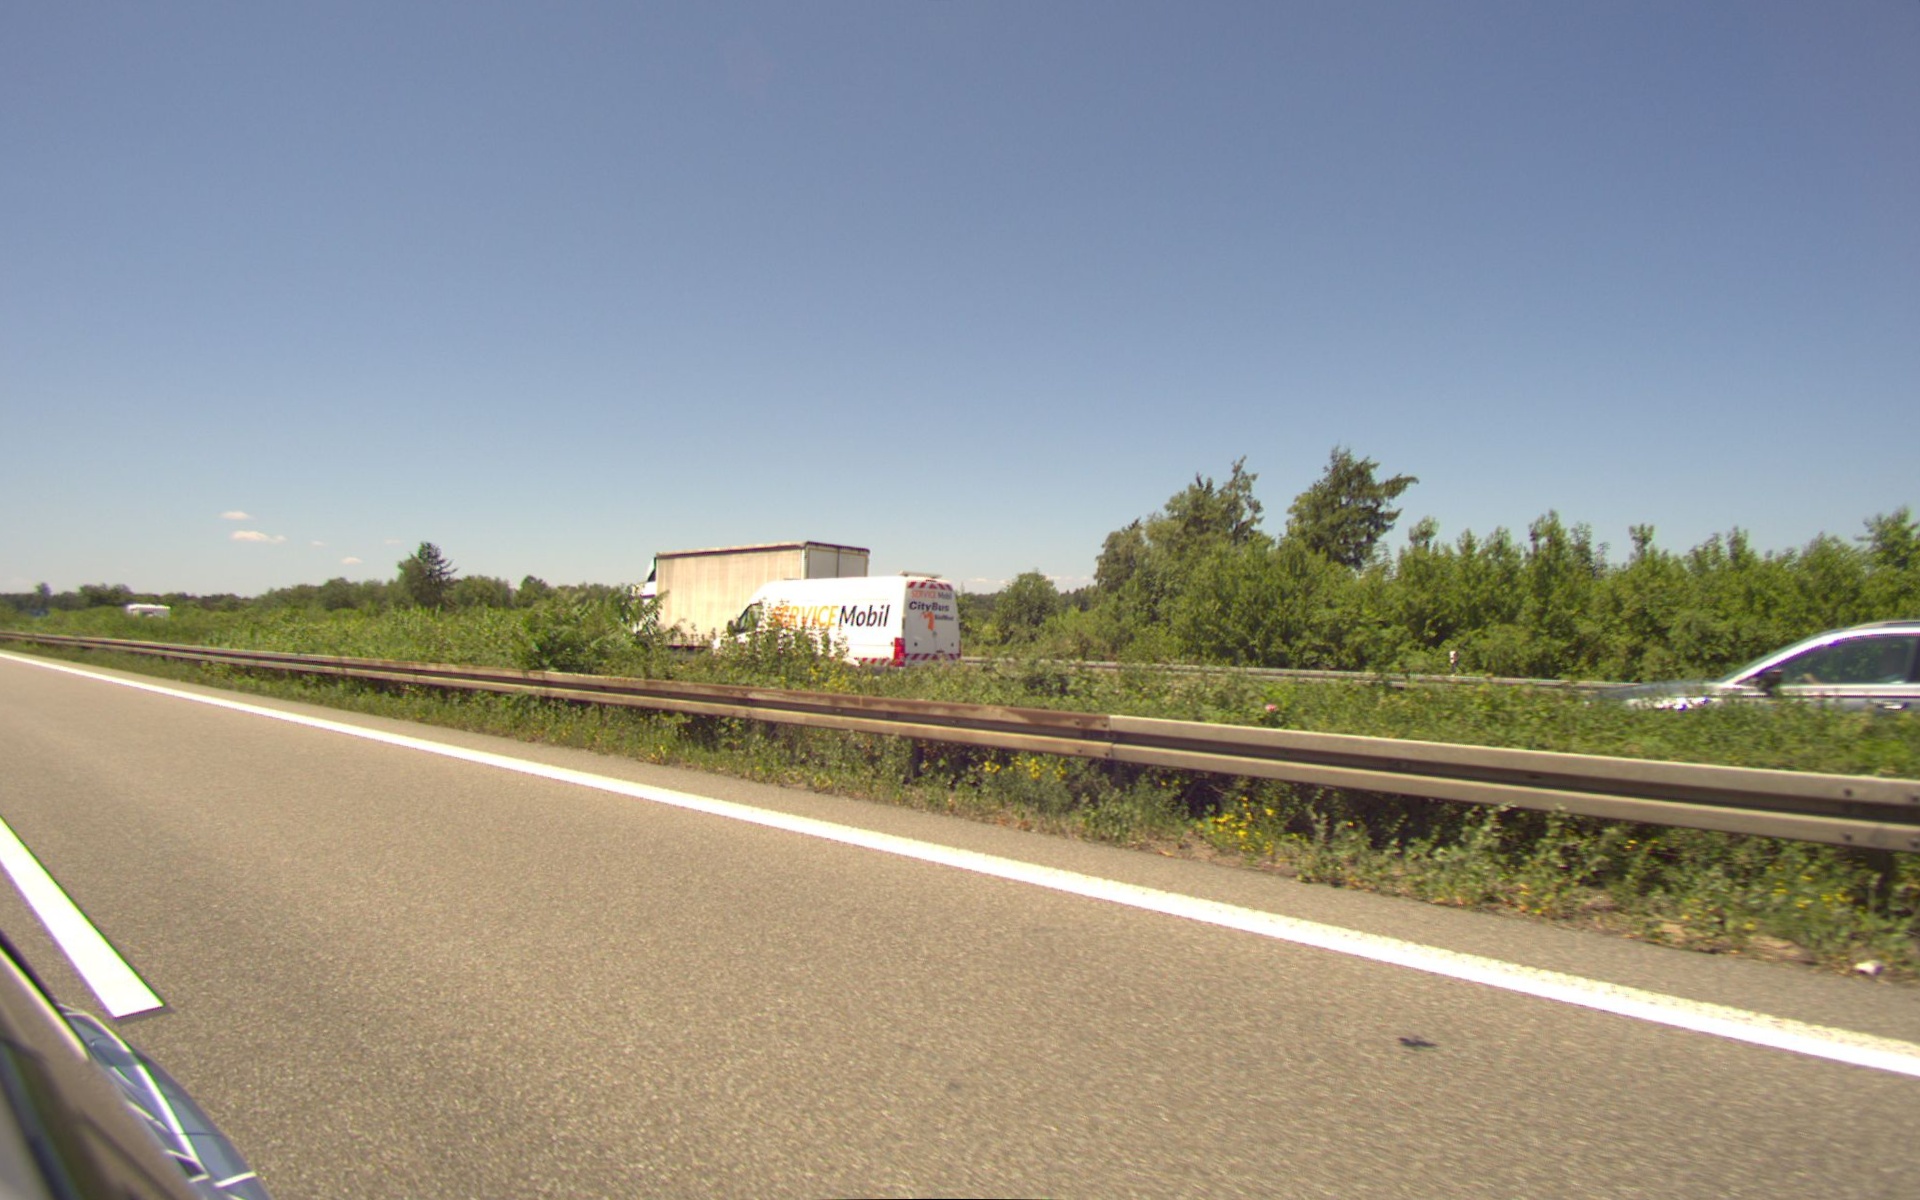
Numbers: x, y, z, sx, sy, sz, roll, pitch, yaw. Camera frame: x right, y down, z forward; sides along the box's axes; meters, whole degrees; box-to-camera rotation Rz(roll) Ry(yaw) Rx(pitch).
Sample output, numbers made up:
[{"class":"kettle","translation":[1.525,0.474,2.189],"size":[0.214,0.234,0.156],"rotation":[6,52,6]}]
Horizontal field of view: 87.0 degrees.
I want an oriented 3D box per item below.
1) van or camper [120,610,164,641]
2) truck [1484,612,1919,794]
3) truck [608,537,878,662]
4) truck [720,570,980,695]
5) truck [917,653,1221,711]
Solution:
[{"class":"van or camper","translation":[-73.125,2.264,90.410],"size":[6.296,2.564,1.973],"rotation":[-1,0,41]},{"class":"truck","translation":[7.088,0.792,8.797],"size":[4.191,1.315,1.753],"rotation":[-1,0,42]},{"class":"truck","translation":[-7.437,0.052,33.104],"size":[10.732,3.524,2.847],"rotation":[-1,0,42]},{"class":"truck","translation":[-2.623,0.661,22.459],"size":[6.418,2.417,1.972],"rotation":[-1,0,42]},{"class":"truck","translation":[1.855,1.431,18.518],"size":[5.218,0.691,2.245],"rotation":[-1,0,42]}]
